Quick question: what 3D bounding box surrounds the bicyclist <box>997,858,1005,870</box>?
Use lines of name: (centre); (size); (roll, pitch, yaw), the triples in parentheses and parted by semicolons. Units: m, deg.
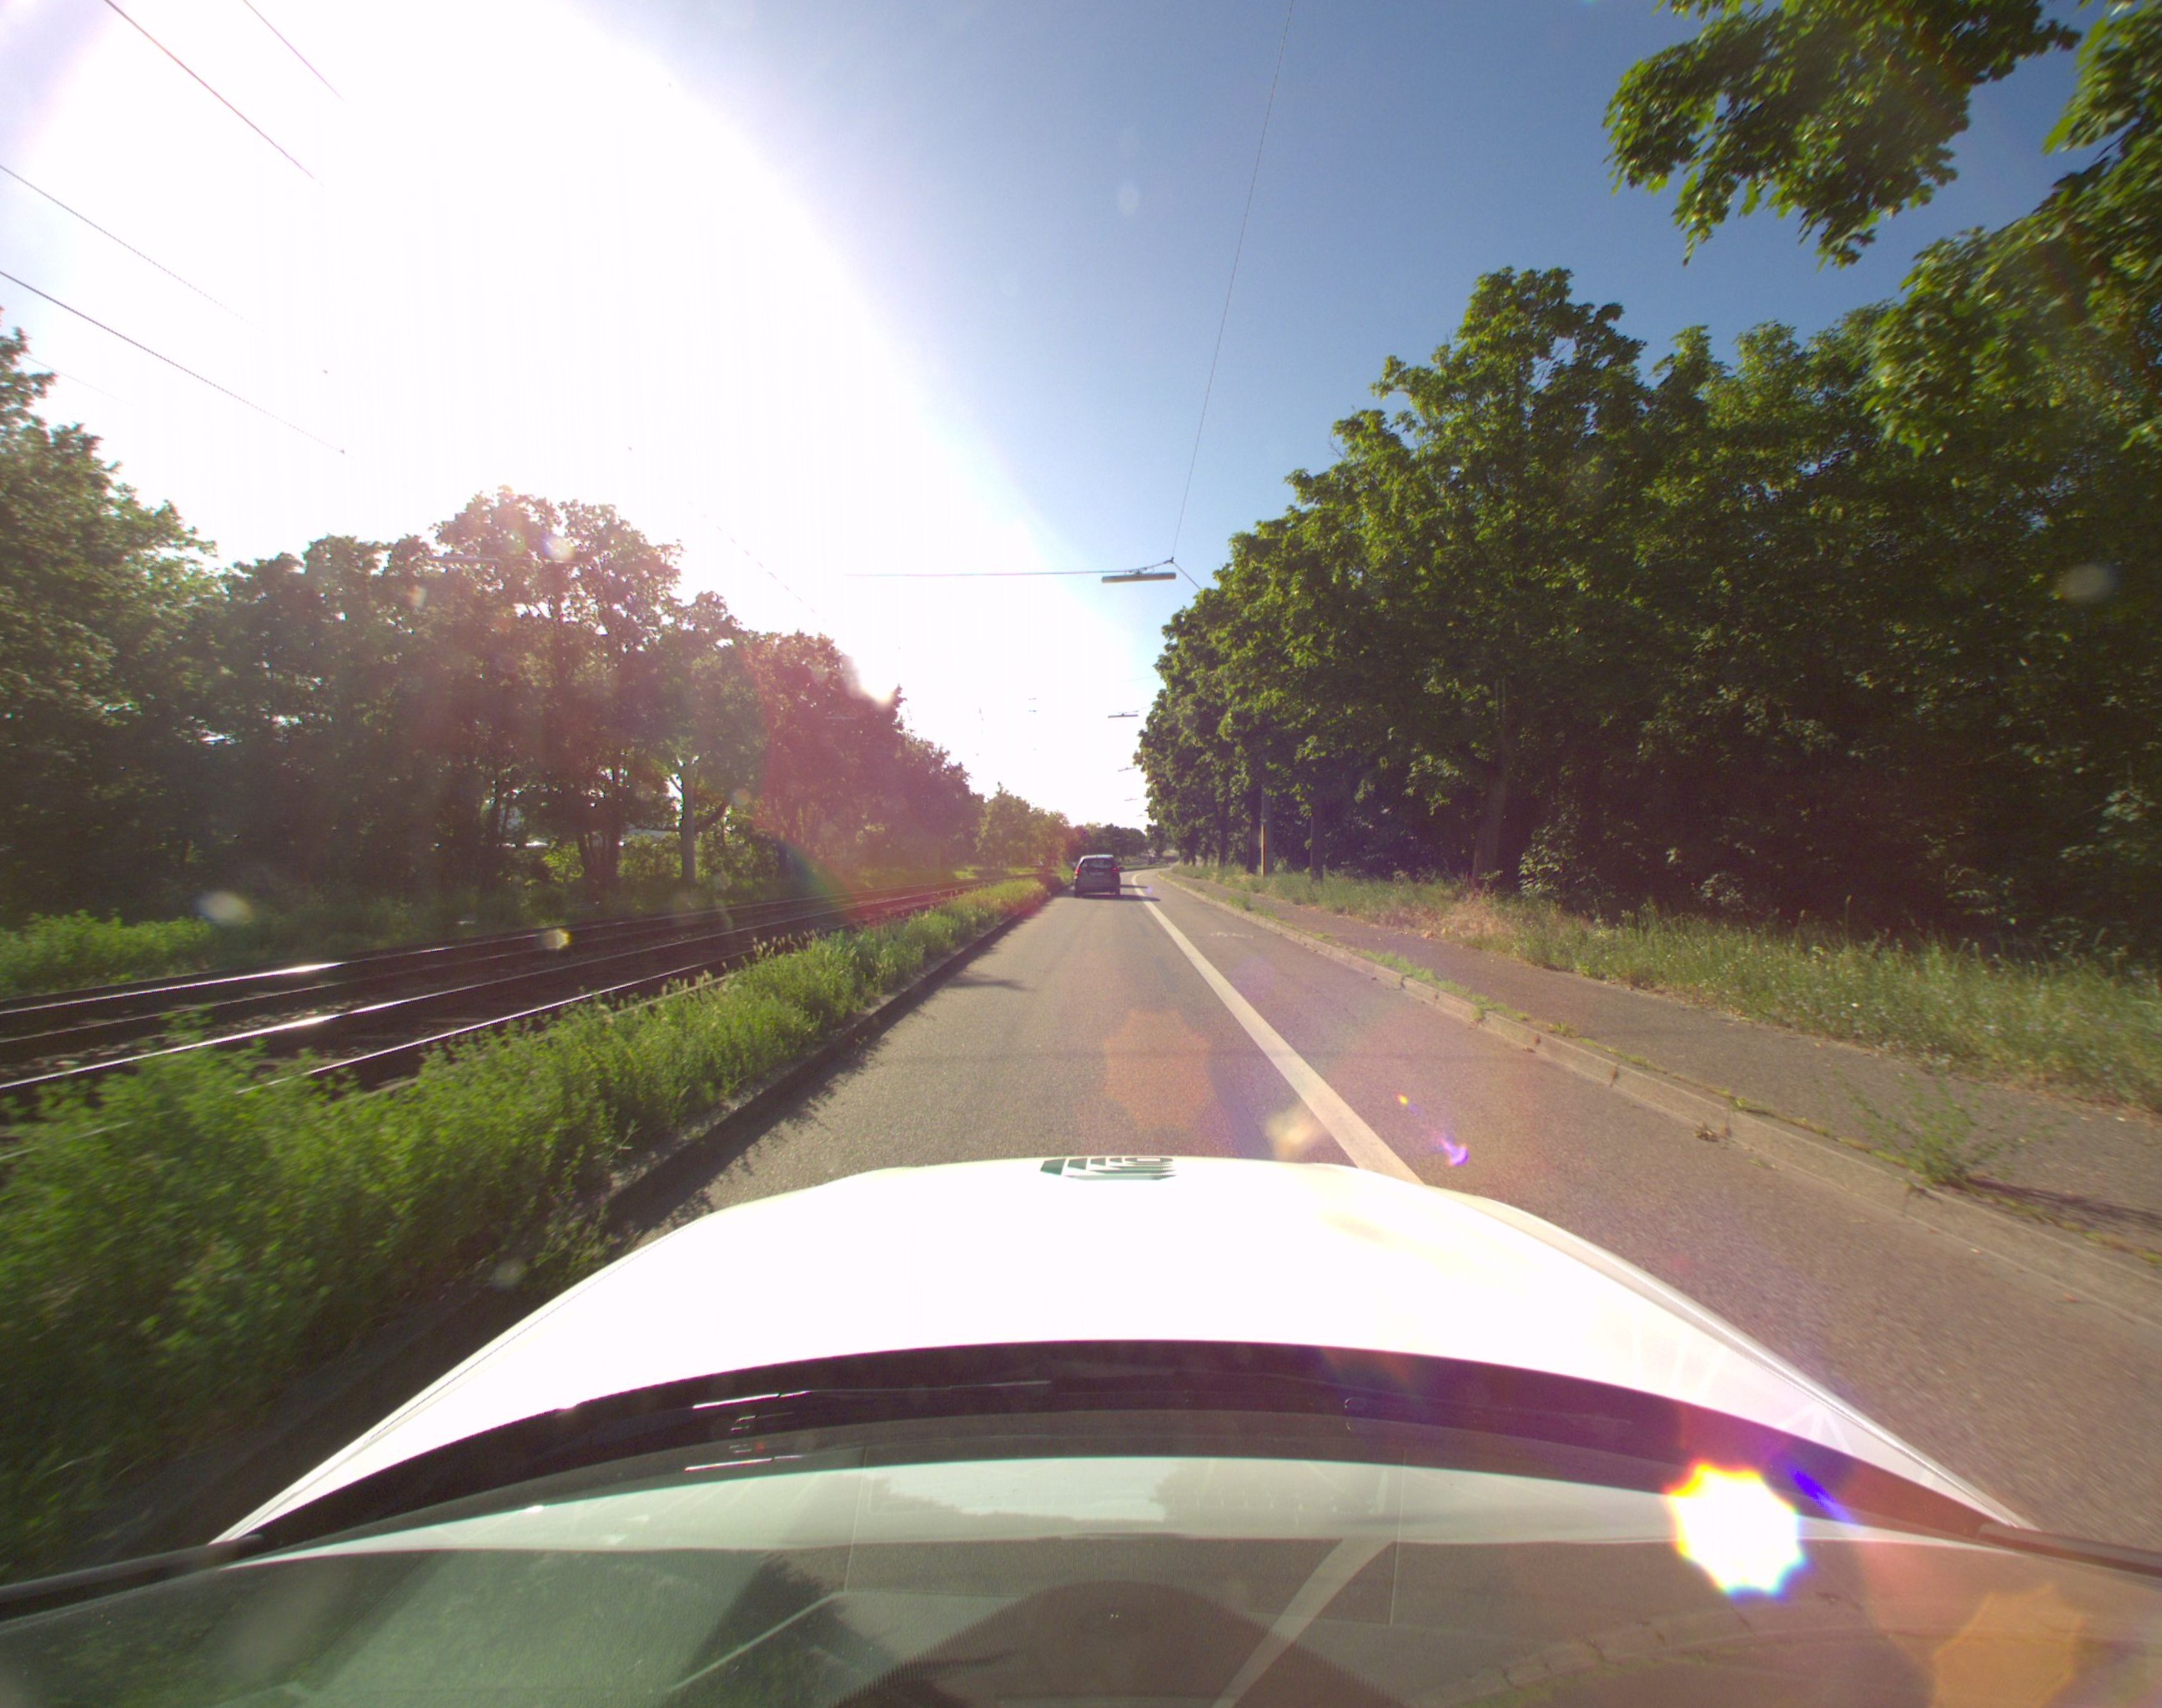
bicyclist: (-10.128, 1.242, 103.585); (0.786, 1.489, 1.110); (1, 2, 4)

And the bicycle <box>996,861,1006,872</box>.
bicycle: (-10.142, 1.583, 103.468); (0.785, 1.195, 3.173); (1, 2, 5)

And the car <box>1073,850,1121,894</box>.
car: (0.619, 0.647, 30.436); (1.663, 1.507, 3.813); (1, 0, 2)

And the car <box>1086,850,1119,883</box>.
car: (1.140, 0.629, 42.450); (1.648, 1.507, 3.814); (1, 2, 2)

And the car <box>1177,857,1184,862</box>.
car: (31.232, 1.842, 254.797); (1.643, 1.313, 3.826); (1, 2, 14)

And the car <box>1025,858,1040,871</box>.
car: (-8.089, 1.788, 136.030); (1.984, 1.875, 4.006); (1, 2, 4)
